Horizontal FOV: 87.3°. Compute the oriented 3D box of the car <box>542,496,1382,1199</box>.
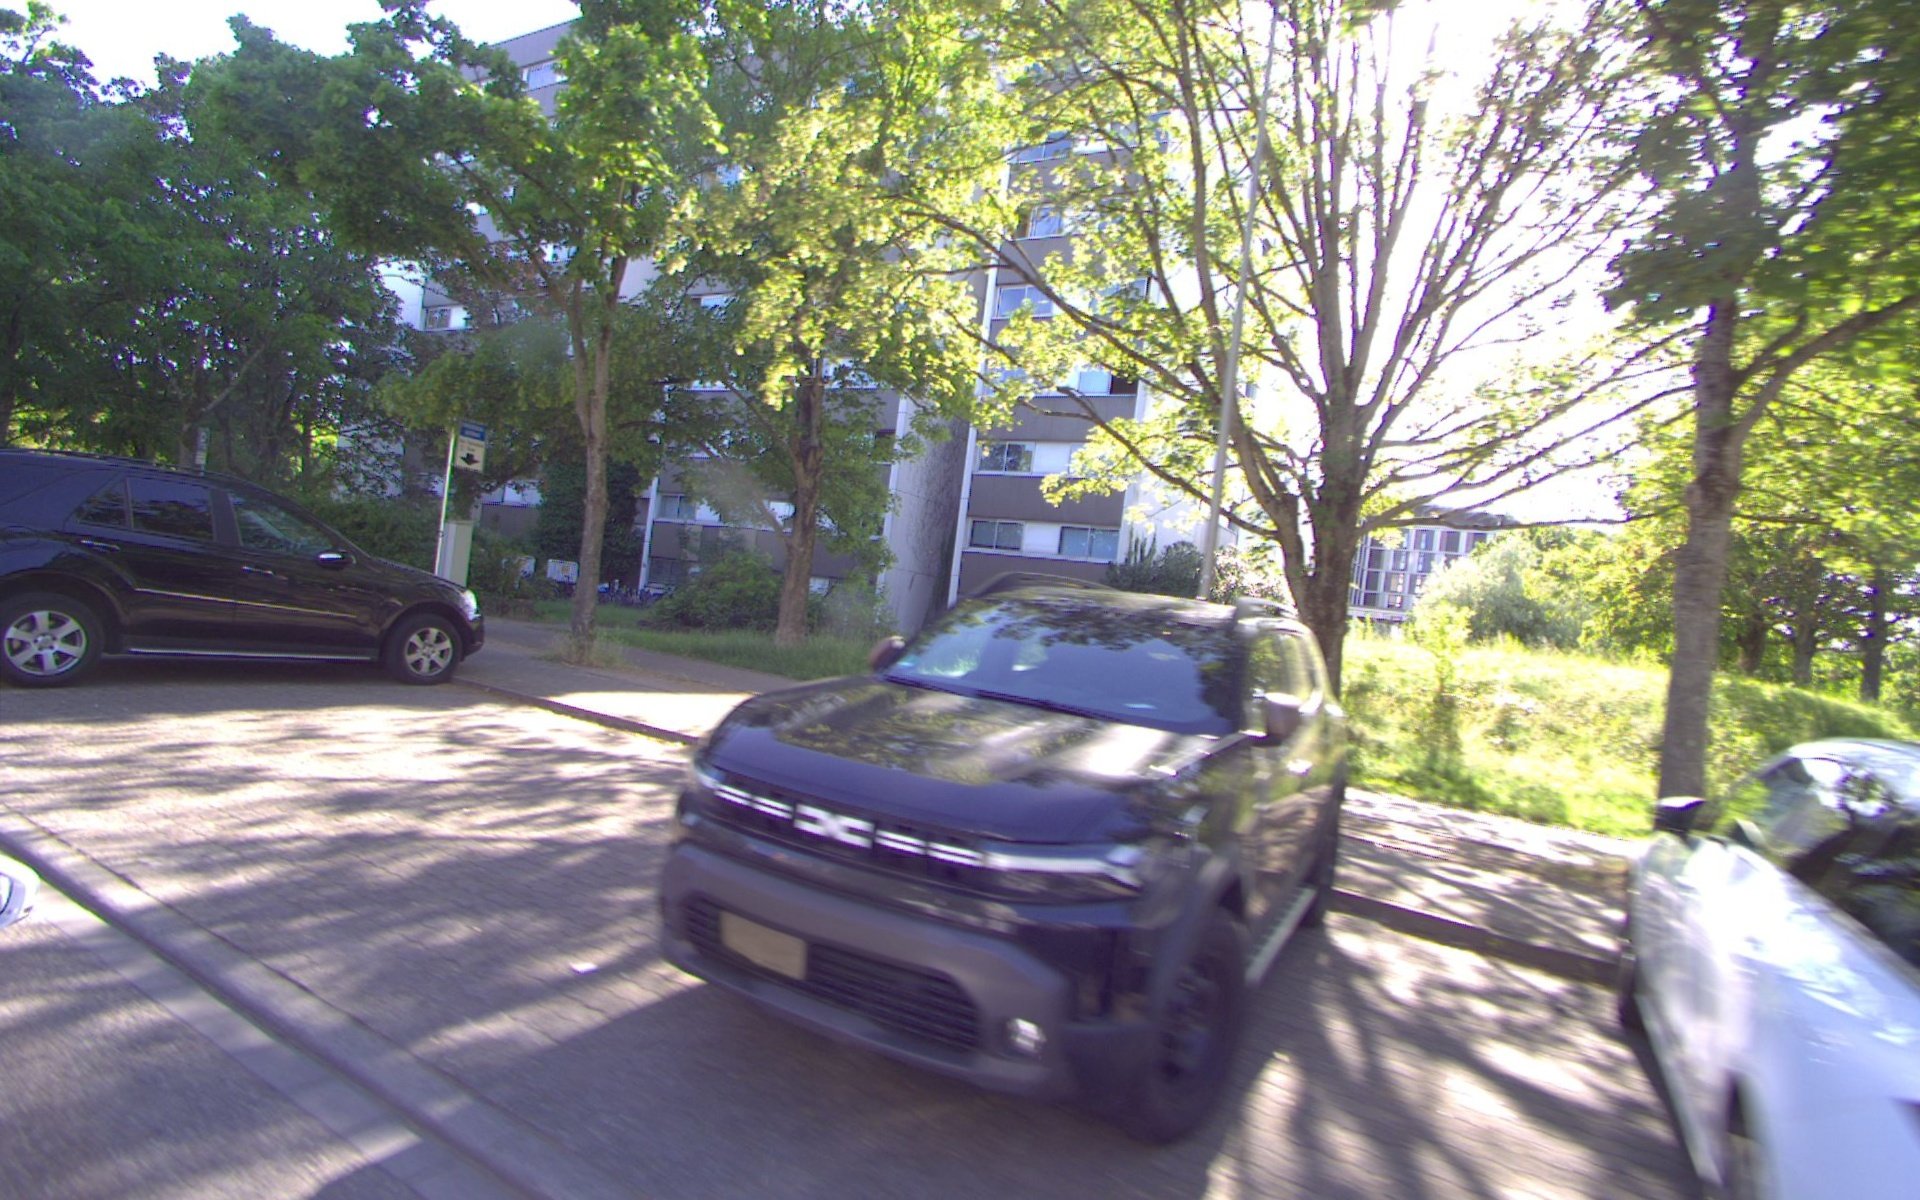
[{"bbox_3d":[0.574,0.692,4.332,1.704,1.638,4.123,6,0,29],"label":"car"}]

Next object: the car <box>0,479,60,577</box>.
[{"bbox_3d":[-16.651,-1.308,15.456,1.672,1.518,3.813,7,1,28],"label":"car"}]

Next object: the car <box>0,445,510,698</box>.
[{"bbox_3d":[-6.807,-0.192,9.094,1.967,1.801,4.591,7,0,31],"label":"car"}]

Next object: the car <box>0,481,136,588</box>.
[{"bbox_3d":[-14.332,-1.042,14.029,1.792,1.405,3.988,7,2,31],"label":"car"}]

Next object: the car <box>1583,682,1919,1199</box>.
[{"bbox_3d":[2.935,1.174,2.704,1.786,1.563,4.453,7,-2,30],"label":"car"}]
